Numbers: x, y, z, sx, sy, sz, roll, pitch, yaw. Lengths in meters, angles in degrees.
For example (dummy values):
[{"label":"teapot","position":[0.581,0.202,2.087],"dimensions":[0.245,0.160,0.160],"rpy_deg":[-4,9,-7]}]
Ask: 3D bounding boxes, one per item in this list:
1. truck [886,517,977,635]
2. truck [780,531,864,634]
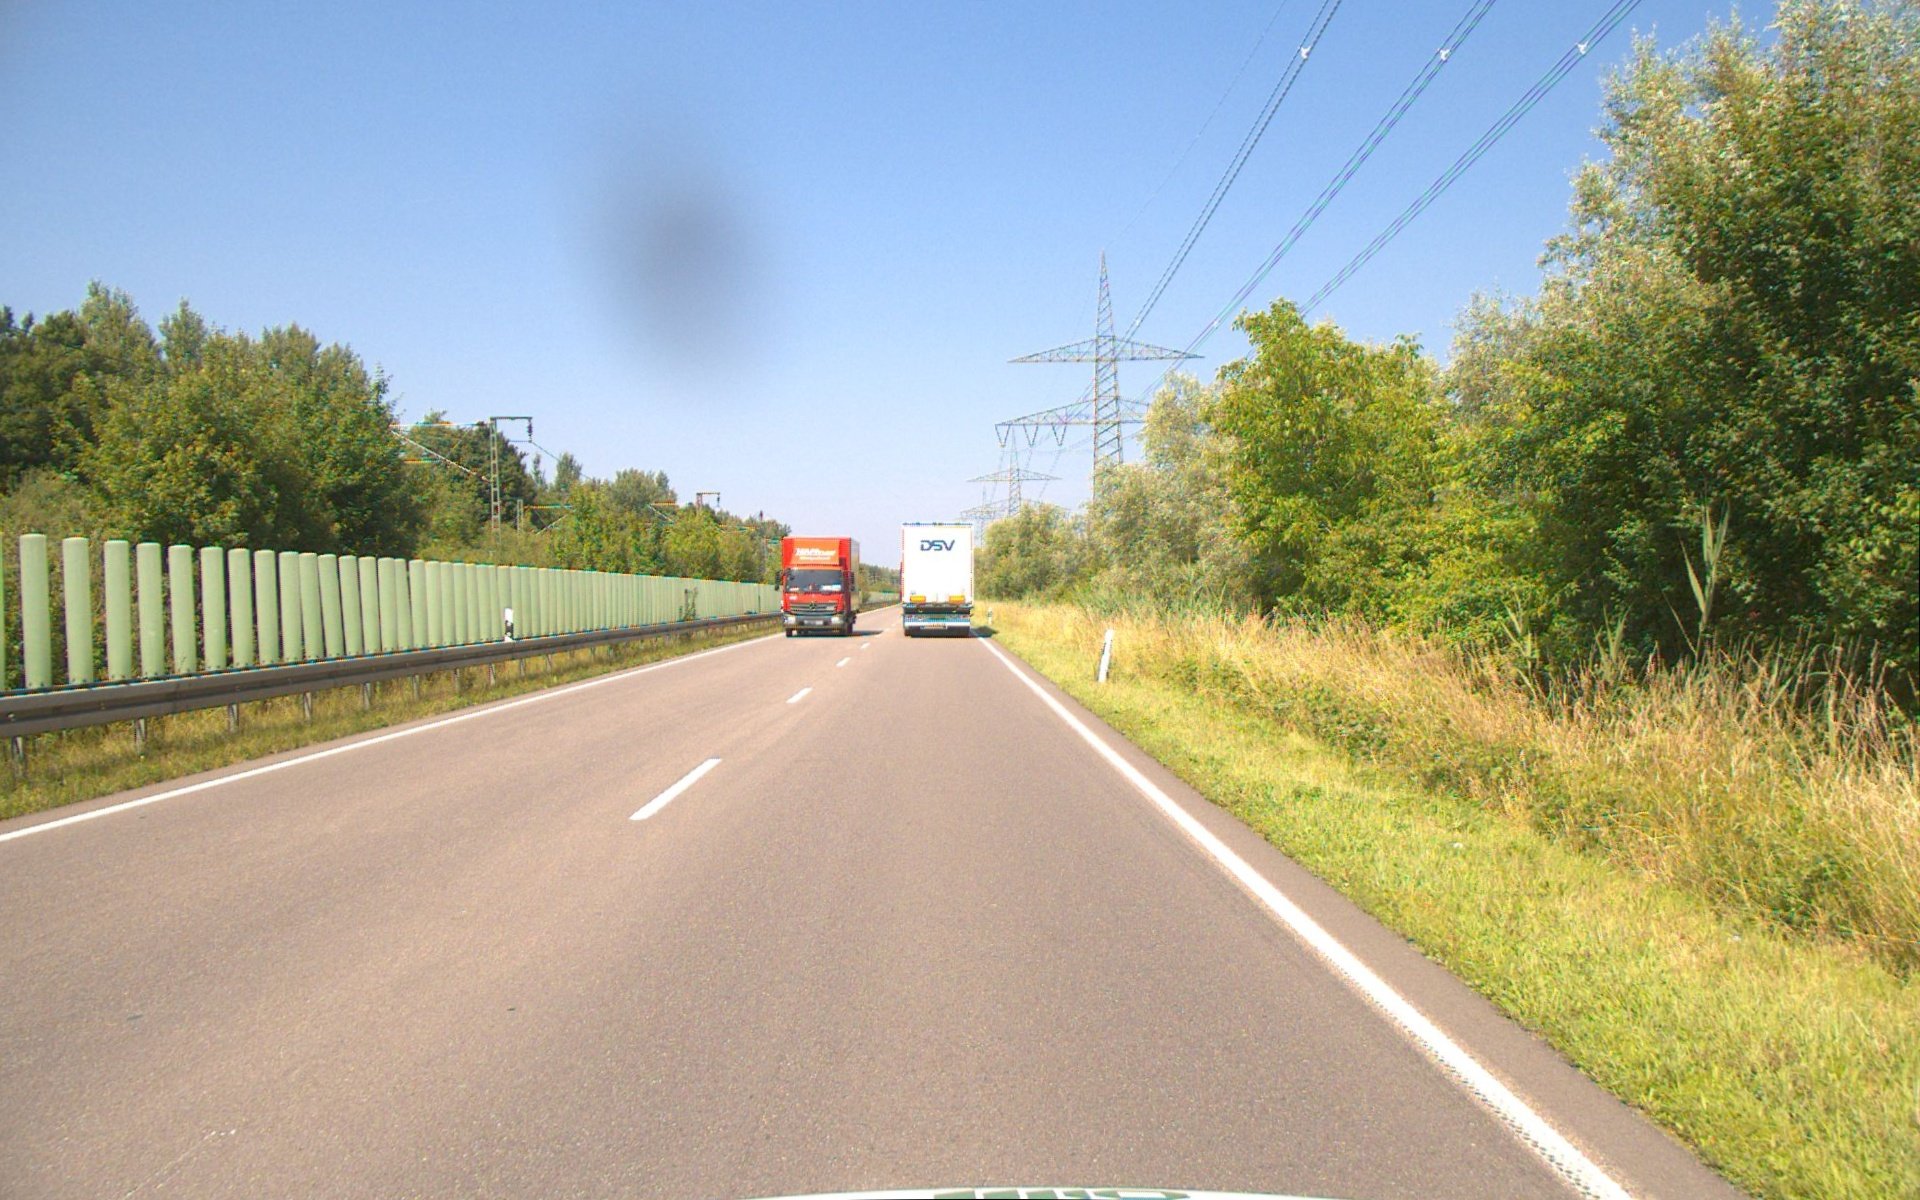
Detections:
[{"label":"truck","position":[-1.141,-0.863,63.408],"dimensions":[3.127,4.113,12.003],"rpy_deg":[0,0,-2]},{"label":"truck","position":[-5.205,-0.655,63.807],"dimensions":[2.678,3.662,9.524],"rpy_deg":[0,0,-2]}]
